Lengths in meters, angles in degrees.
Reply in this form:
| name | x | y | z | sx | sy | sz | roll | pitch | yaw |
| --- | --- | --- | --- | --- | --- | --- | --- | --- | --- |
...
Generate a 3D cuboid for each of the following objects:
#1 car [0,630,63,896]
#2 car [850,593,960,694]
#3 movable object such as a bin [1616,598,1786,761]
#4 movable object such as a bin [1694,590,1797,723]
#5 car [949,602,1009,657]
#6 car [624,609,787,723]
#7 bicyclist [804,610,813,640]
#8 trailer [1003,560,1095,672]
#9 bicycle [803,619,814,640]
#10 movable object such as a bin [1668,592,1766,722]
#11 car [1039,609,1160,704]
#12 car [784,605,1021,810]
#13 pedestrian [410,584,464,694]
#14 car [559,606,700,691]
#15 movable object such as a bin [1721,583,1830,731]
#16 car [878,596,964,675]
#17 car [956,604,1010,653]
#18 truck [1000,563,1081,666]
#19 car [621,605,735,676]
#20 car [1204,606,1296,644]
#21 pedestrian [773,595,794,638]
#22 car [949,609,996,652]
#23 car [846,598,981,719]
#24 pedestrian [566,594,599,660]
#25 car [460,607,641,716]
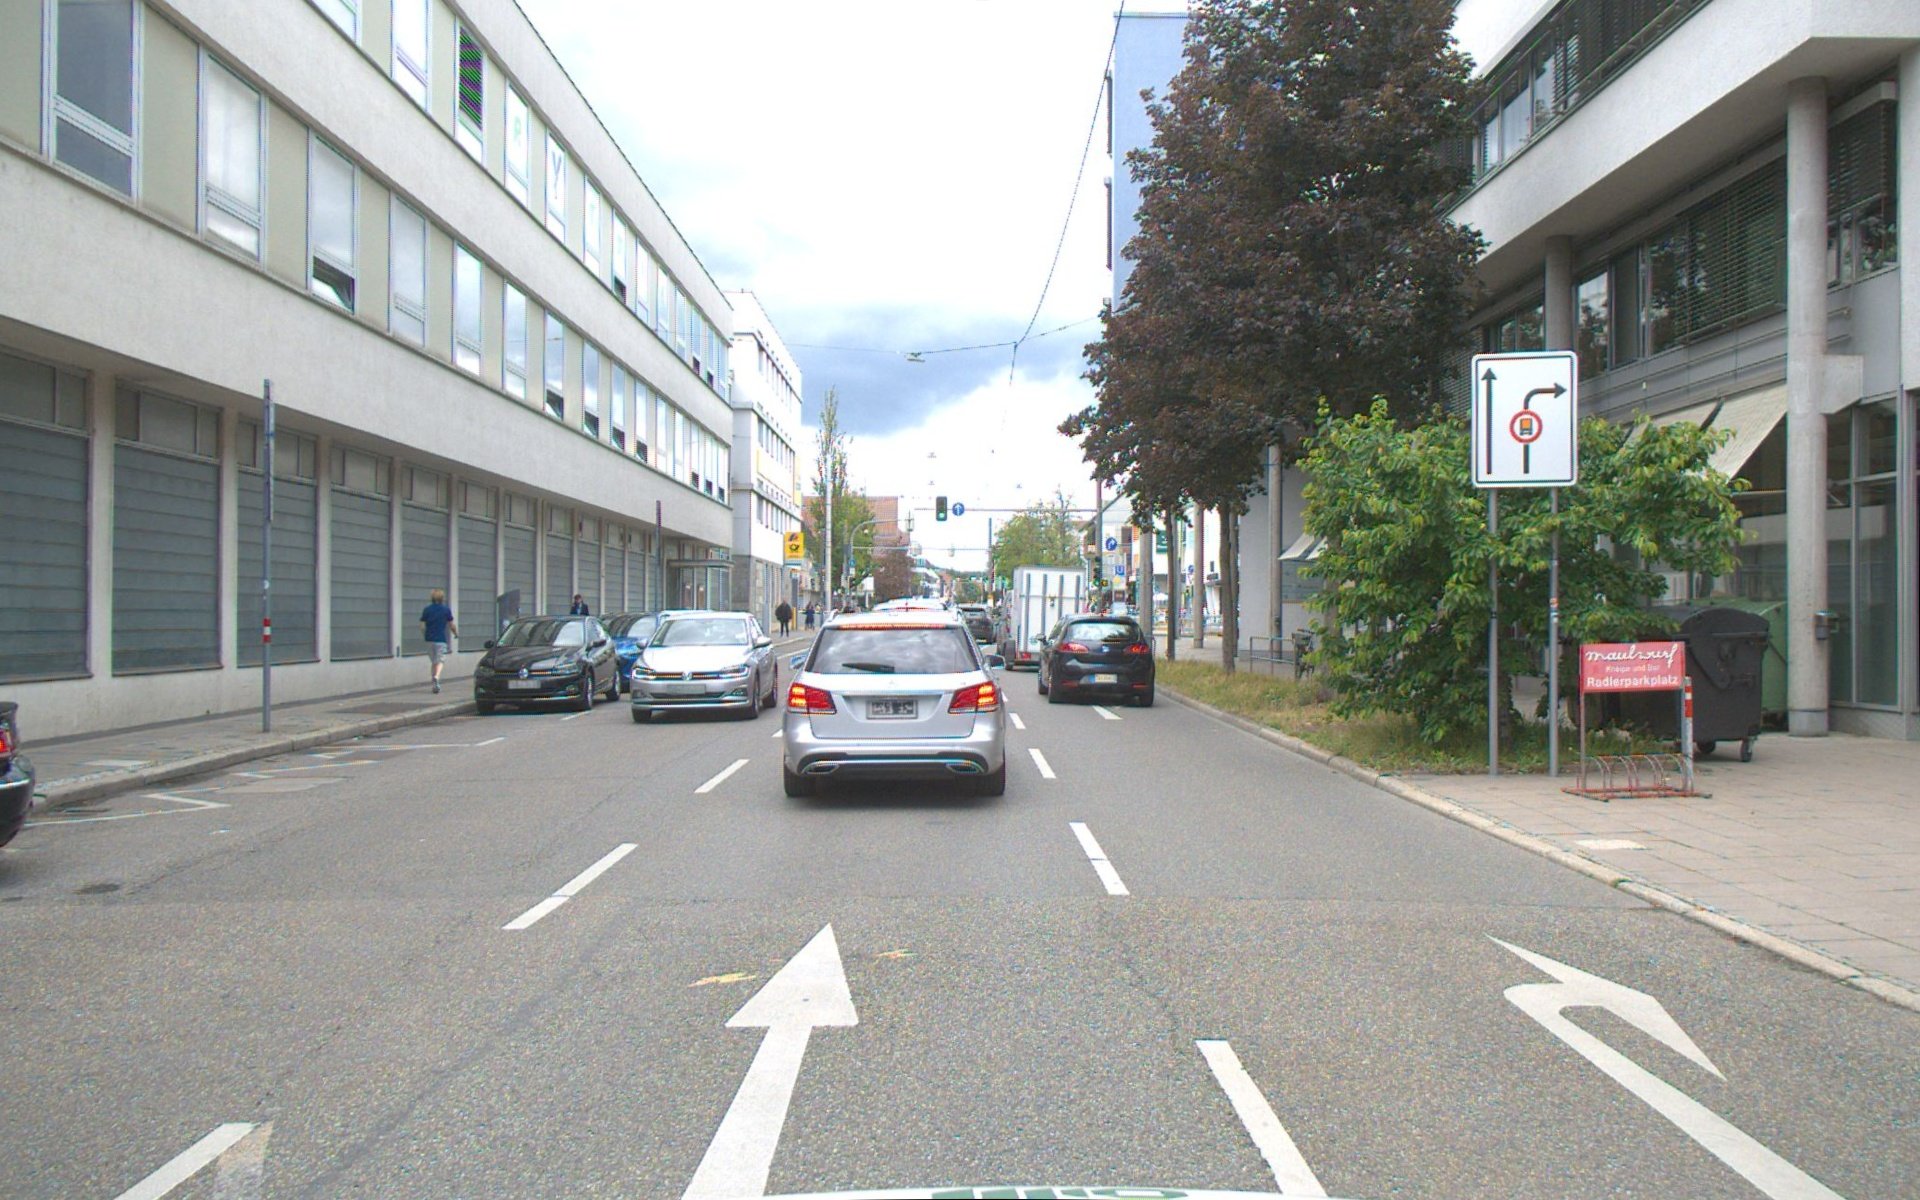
| name | x | y | z | sx | sy | sz | roll | pitch | yaw |
| --- | --- | --- | --- | --- | --- | --- | --- | --- | --- |
| car | -7.196 | 0.883 | 8.678 | 4.352 | 1.389 | 1.768 | 0 | 0 | -30 |
| car | -0.924 | 0.715 | 28.885 | 1.766 | 1.629 | 3.737 | 1 | 0 | -1 |
| movable object such as a bin | 7.203 | 0.747 | 16.161 | 0.924 | 1.496 | 1.445 | -2 | 0 | -3 |
| movable object such as a bin | 9.283 | 0.661 | 19.563 | 0.804 | 1.516 | 0.732 | -2 | -2 | 1 |
| car | 0.556 | 0.912 | 52.208 | 1.766 | 1.629 | 3.737 | 1 | 0 | -1 |
| car | -3.569 | 0.882 | 23.850 | 1.733 | 1.438 | 4.174 | -1 | 0 | -1 |
| bicyclist | -8.730 | 1.448 | 95.300 | 0.436 | 1.727 | 0.555 | 1 | -1 | -1 |
| trailer | 2.161 | 0.376 | 41.705 | 1.953 | 2.653 | 5.348 | 0 | 0 | -1 |
| bicycle | -8.733 | 1.714 | 95.258 | 0.436 | 1.187 | 1.920 | 1 | -1 | -1 |
| movable object such as a bin | 9.286 | 0.693 | 20.320 | 0.804 | 1.530 | 0.732 | -2 | -2 | 1 |
| car | 2.275 | 0.898 | 27.860 | 1.729 | 1.458 | 3.828 | 0 | 0 | 0 |
| car | -0.457 | 0.809 | 14.200 | 1.766 | 1.519 | 3.737 | 0 | 0 | -1 |
| pedestrian | -8.780 | 0.646 | 27.787 | 0.629 | 1.800 | 0.810 | 1 | 0 | -1 |
| car | -6.317 | 0.883 | 32.093 | 1.953 | 1.543 | 4.174 | 0 | 0 | -1 |
| movable object such as a bin | 9.258 | 0.644 | 18.807 | 0.804 | 1.617 | 0.732 | -2 | -2 | 1 |
| car | -0.847 | 0.745 | 36.716 | 1.766 | 1.629 | 3.737 | 1 | 0 | -1 |
| car | 0.787 | 0.979 | 58.553 | 1.766 | 1.629 | 3.737 | 1 | 0 | -1 |
| truck | 2.124 | 0.372 | 44.491 | 1.953 | 2.653 | 3.259 | 0 | 0 | -1 |
| car | -6.370 | 0.880 | 37.797 | 1.953 | 1.543 | 4.174 | 0 | 0 | -1 |
| car | 13.823 | 1.200 | 78.836 | 3.918 | 1.680 | 1.838 | 2 | -1 | -14 |
| pedestrian | -7.909 | 0.722 | 74.088 | 0.899 | 1.901 | 0.783 | 0 | 0 | -1 |
| car | 0.481 | 1.209 | 67.091 | 1.766 | 1.629 | 3.737 | 1 | 0 | -1 |
| car | -0.631 | 0.763 | 23.454 | 1.766 | 1.580 | 3.737 | 0 | 0 | -1 |
| pedestrian | -9.507 | 0.668 | 41.676 | 0.642 | 1.651 | 0.681 | 0 | 0 | 1 |
| car | -6.419 | 0.909 | 26.394 | 1.874 | 1.543 | 4.174 | -1 | 0 | -1 |
